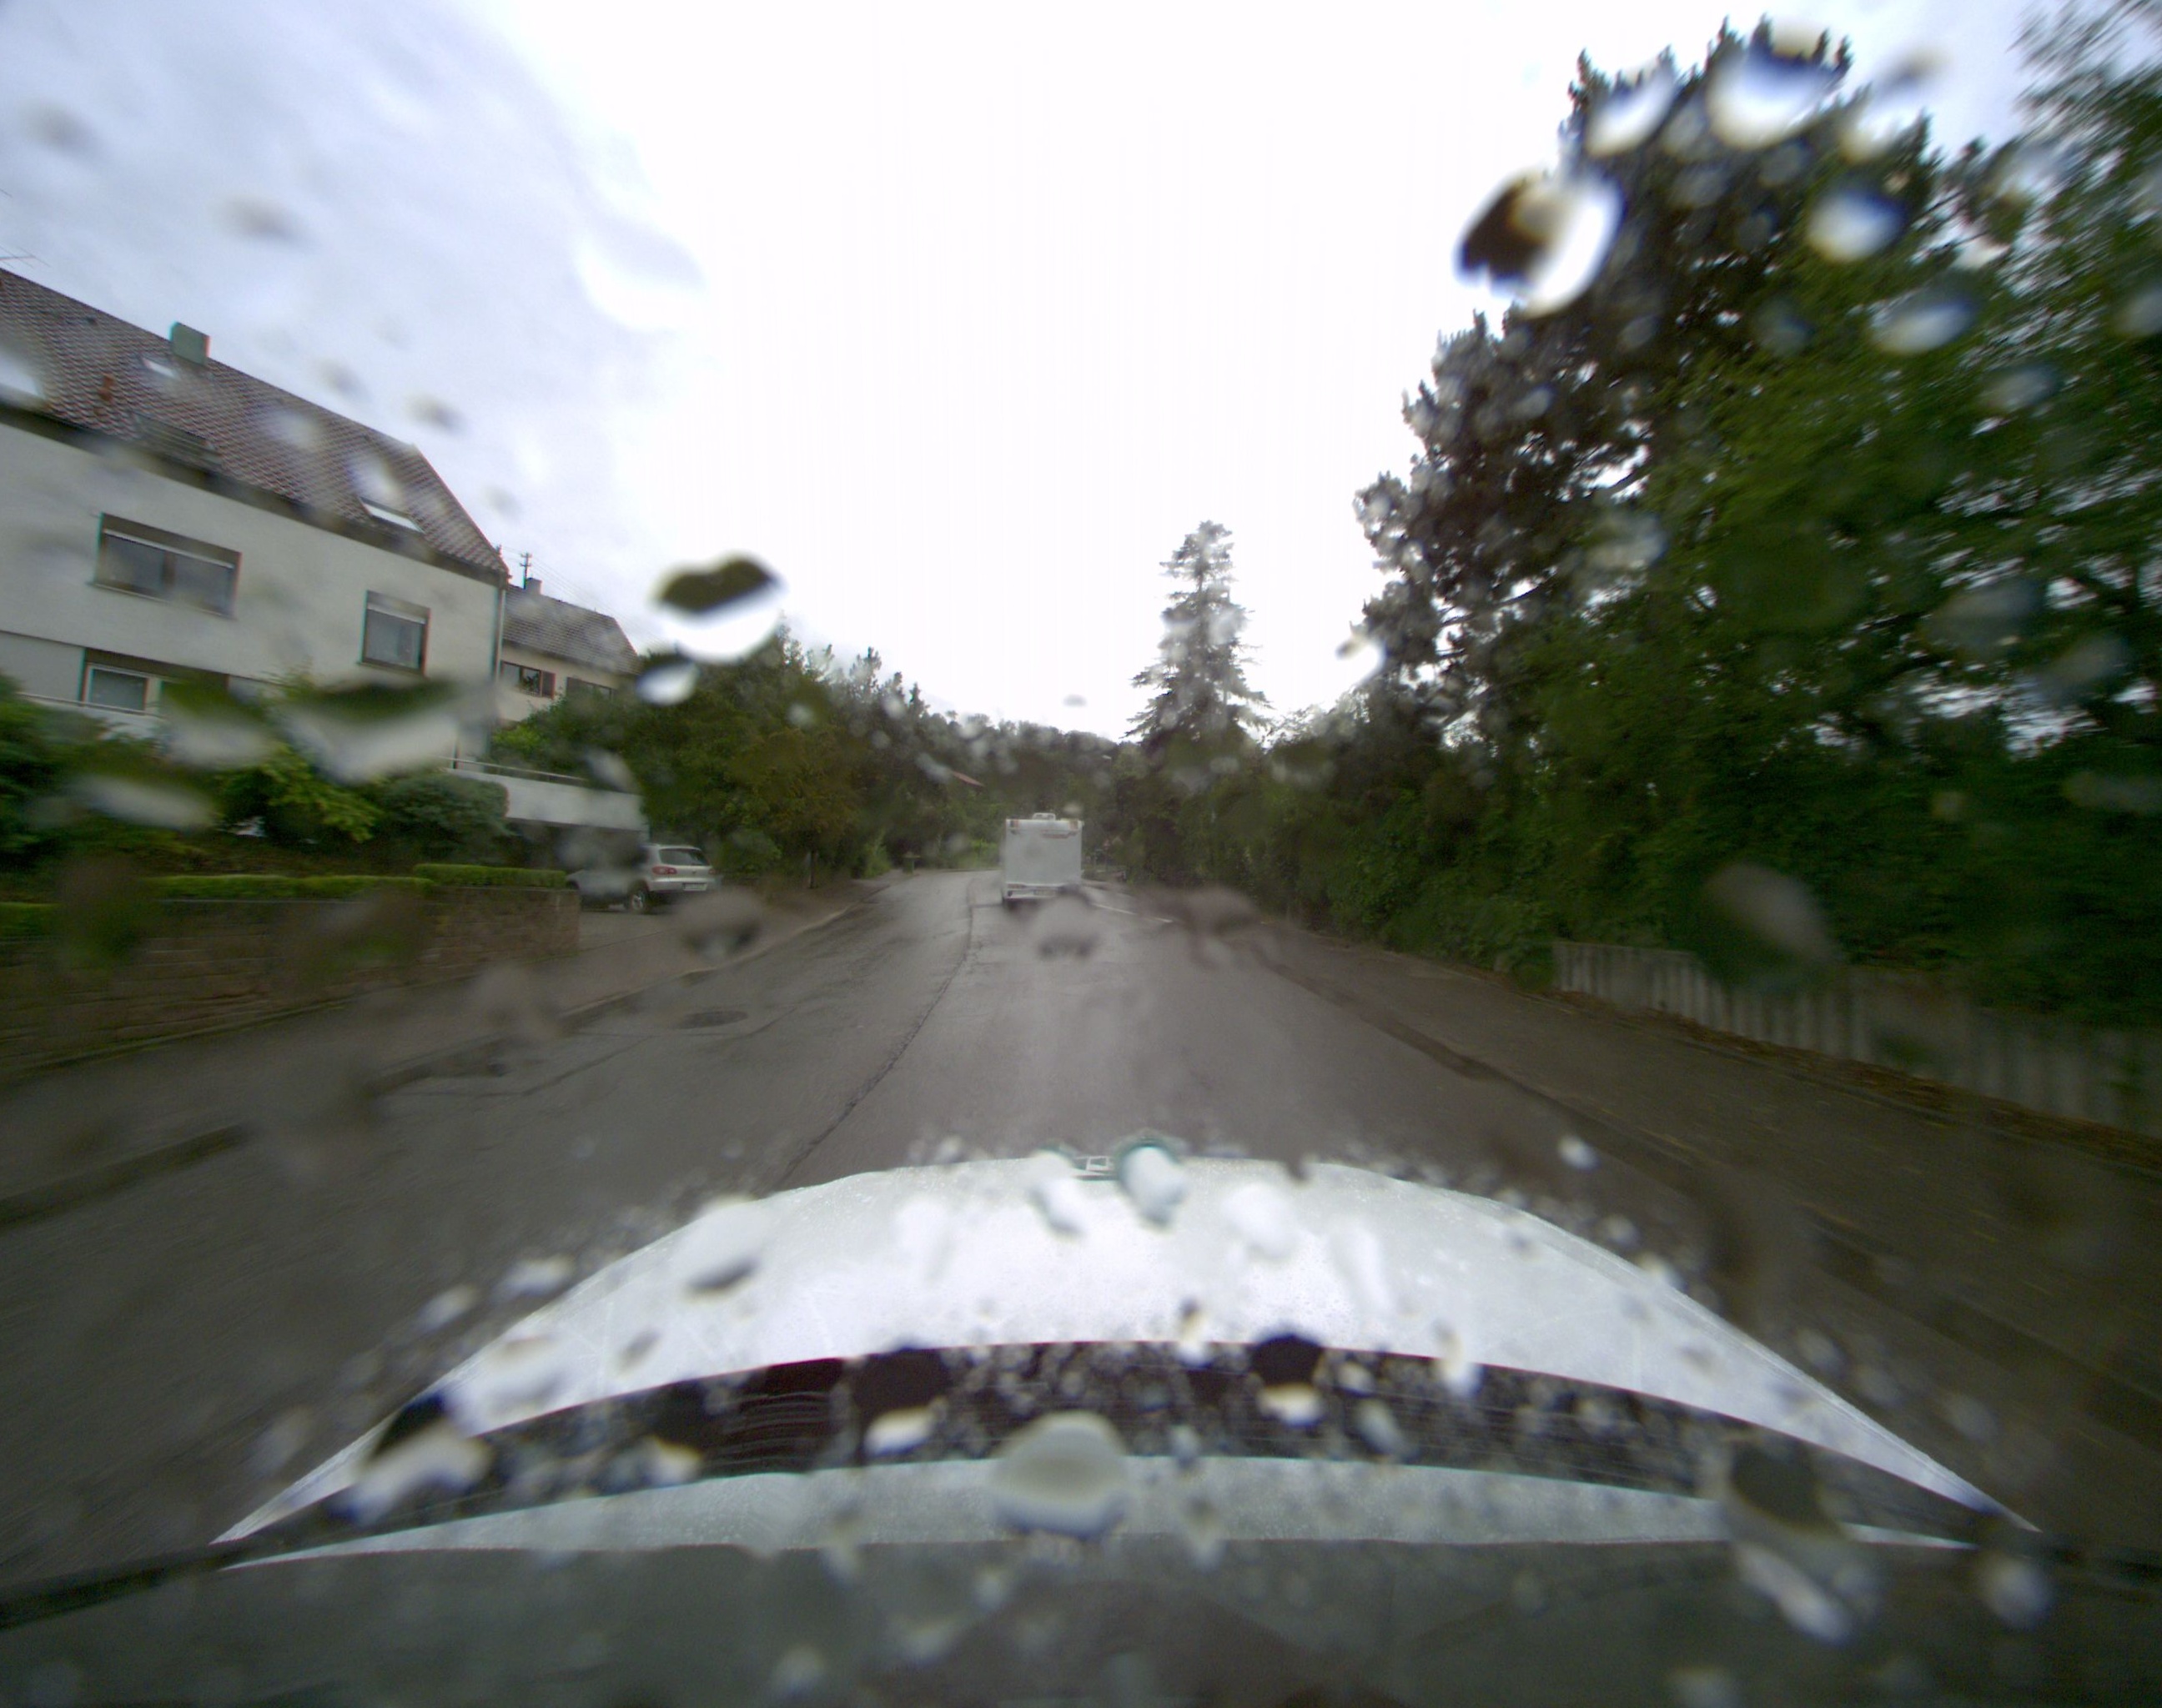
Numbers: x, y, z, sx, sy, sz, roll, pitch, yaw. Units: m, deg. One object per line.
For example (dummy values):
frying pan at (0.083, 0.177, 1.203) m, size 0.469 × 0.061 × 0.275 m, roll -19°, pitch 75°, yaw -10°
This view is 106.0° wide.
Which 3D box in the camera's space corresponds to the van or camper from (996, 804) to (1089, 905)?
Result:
van or camper at (-1.359, 0.094, 26.264) m, size 2.612 × 2.853 × 6.019 m, roll 1°, pitch -2°, yaw -5°

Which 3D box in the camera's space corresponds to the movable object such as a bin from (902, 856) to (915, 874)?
movable object such as a bin at (-10.500, 0.649, 49.550) m, size 0.741 × 1.094 × 0.755 m, roll 1°, pitch 0°, yaw -10°

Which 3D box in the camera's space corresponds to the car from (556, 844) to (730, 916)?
car at (-10.785, 0.655, 20.031) m, size 3.895 × 1.585 × 1.875 m, roll -3°, pitch -2°, yaw 28°

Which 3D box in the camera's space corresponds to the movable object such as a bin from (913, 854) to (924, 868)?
movable object such as a bin at (-12.347, 0.524, 61.882) m, size 0.754 × 1.022 × 0.741 m, roll 1°, pitch 0°, yaw -8°

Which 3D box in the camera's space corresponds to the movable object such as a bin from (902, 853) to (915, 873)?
movable object such as a bin at (-10.668, 0.541, 50.382) m, size 0.741 × 1.253 × 0.755 m, roll 1°, pitch 0°, yaw -10°
